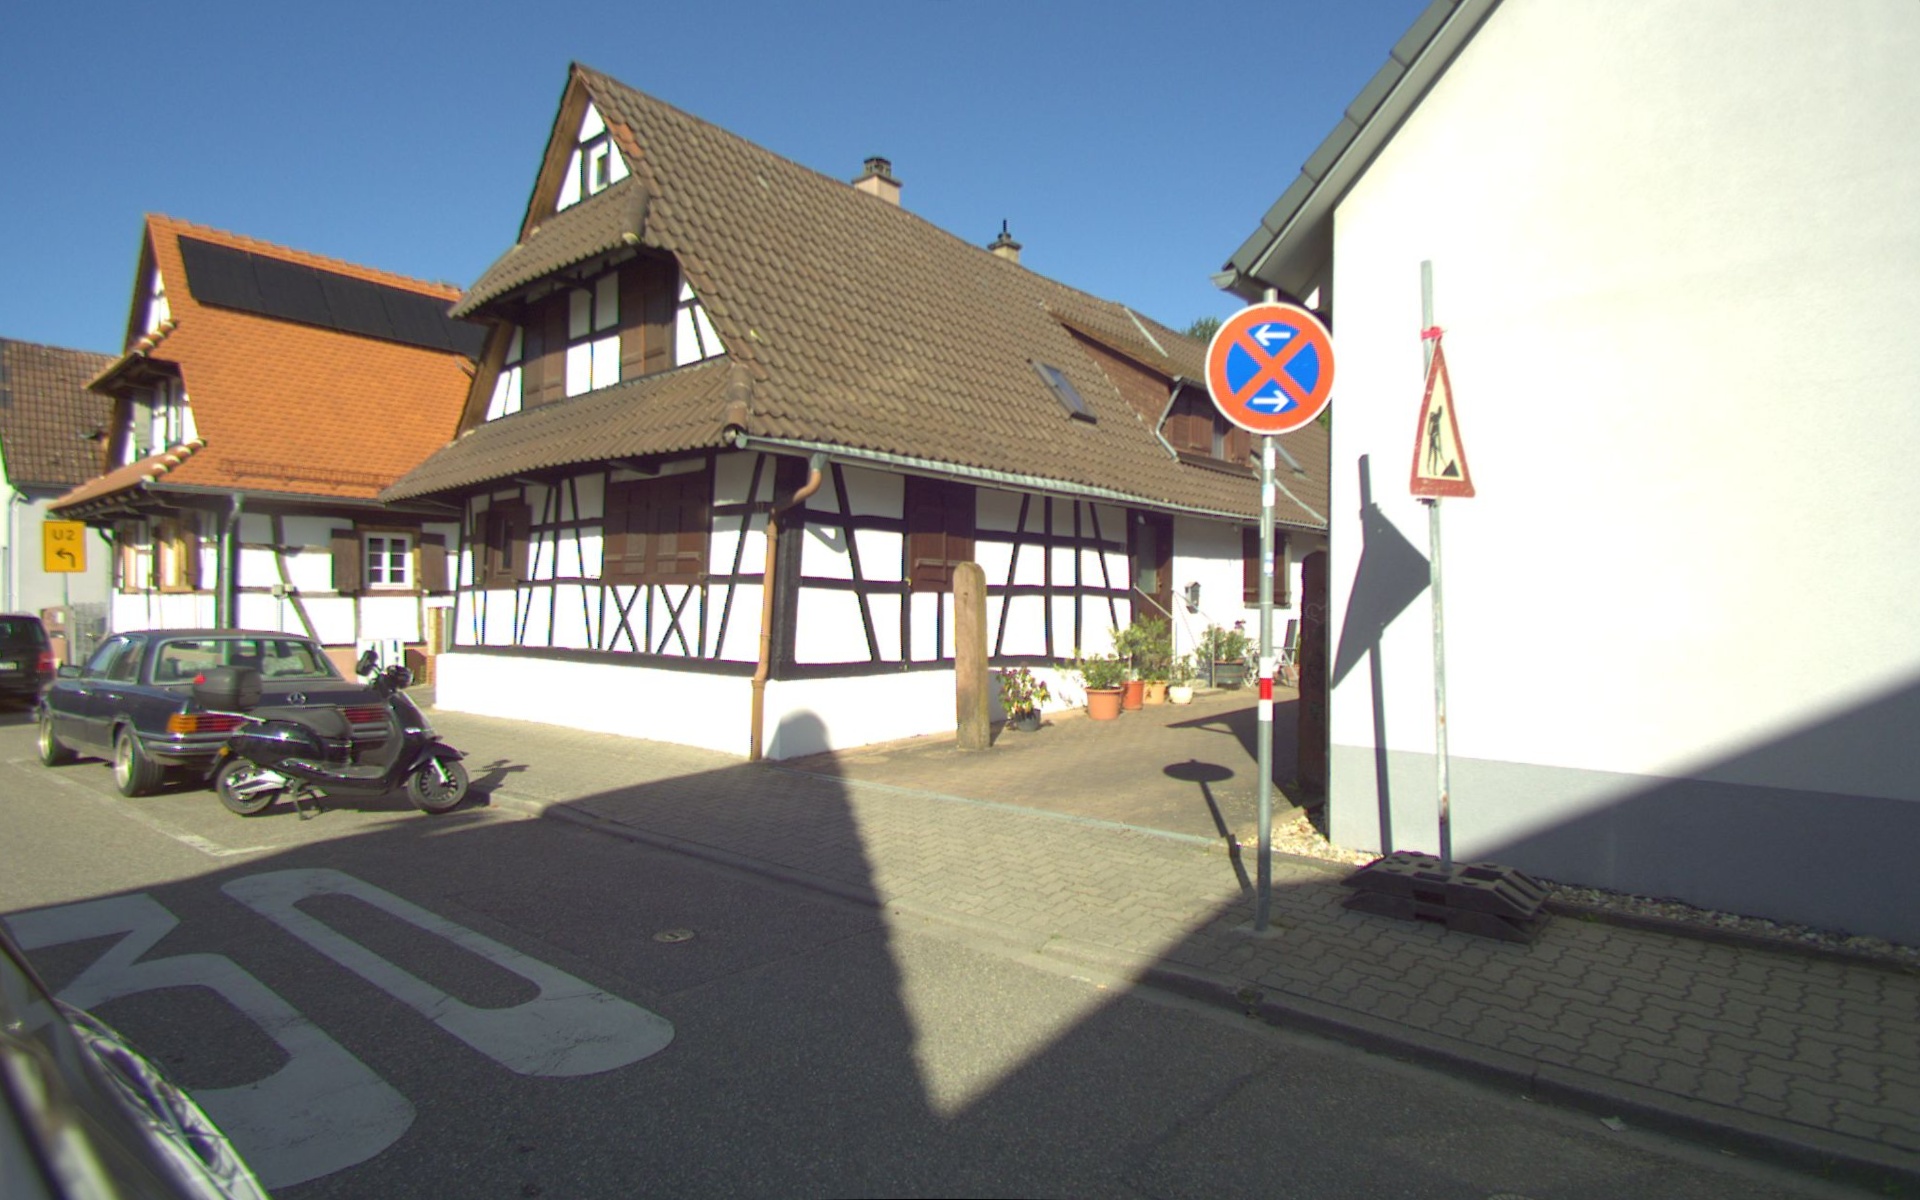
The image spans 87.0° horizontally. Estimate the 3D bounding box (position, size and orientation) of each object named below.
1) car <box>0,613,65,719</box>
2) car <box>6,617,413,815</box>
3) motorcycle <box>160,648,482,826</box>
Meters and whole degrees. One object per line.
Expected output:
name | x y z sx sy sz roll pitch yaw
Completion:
car | -16.603 1.030 16.818 4.354 1.617 1.767 0 -1 37
car | -7.447 0.919 9.829 5.028 1.417 1.827 0 -2 37
motorcycle | -4.754 0.994 7.645 1.963 1.241 0.628 0 -1 -8
